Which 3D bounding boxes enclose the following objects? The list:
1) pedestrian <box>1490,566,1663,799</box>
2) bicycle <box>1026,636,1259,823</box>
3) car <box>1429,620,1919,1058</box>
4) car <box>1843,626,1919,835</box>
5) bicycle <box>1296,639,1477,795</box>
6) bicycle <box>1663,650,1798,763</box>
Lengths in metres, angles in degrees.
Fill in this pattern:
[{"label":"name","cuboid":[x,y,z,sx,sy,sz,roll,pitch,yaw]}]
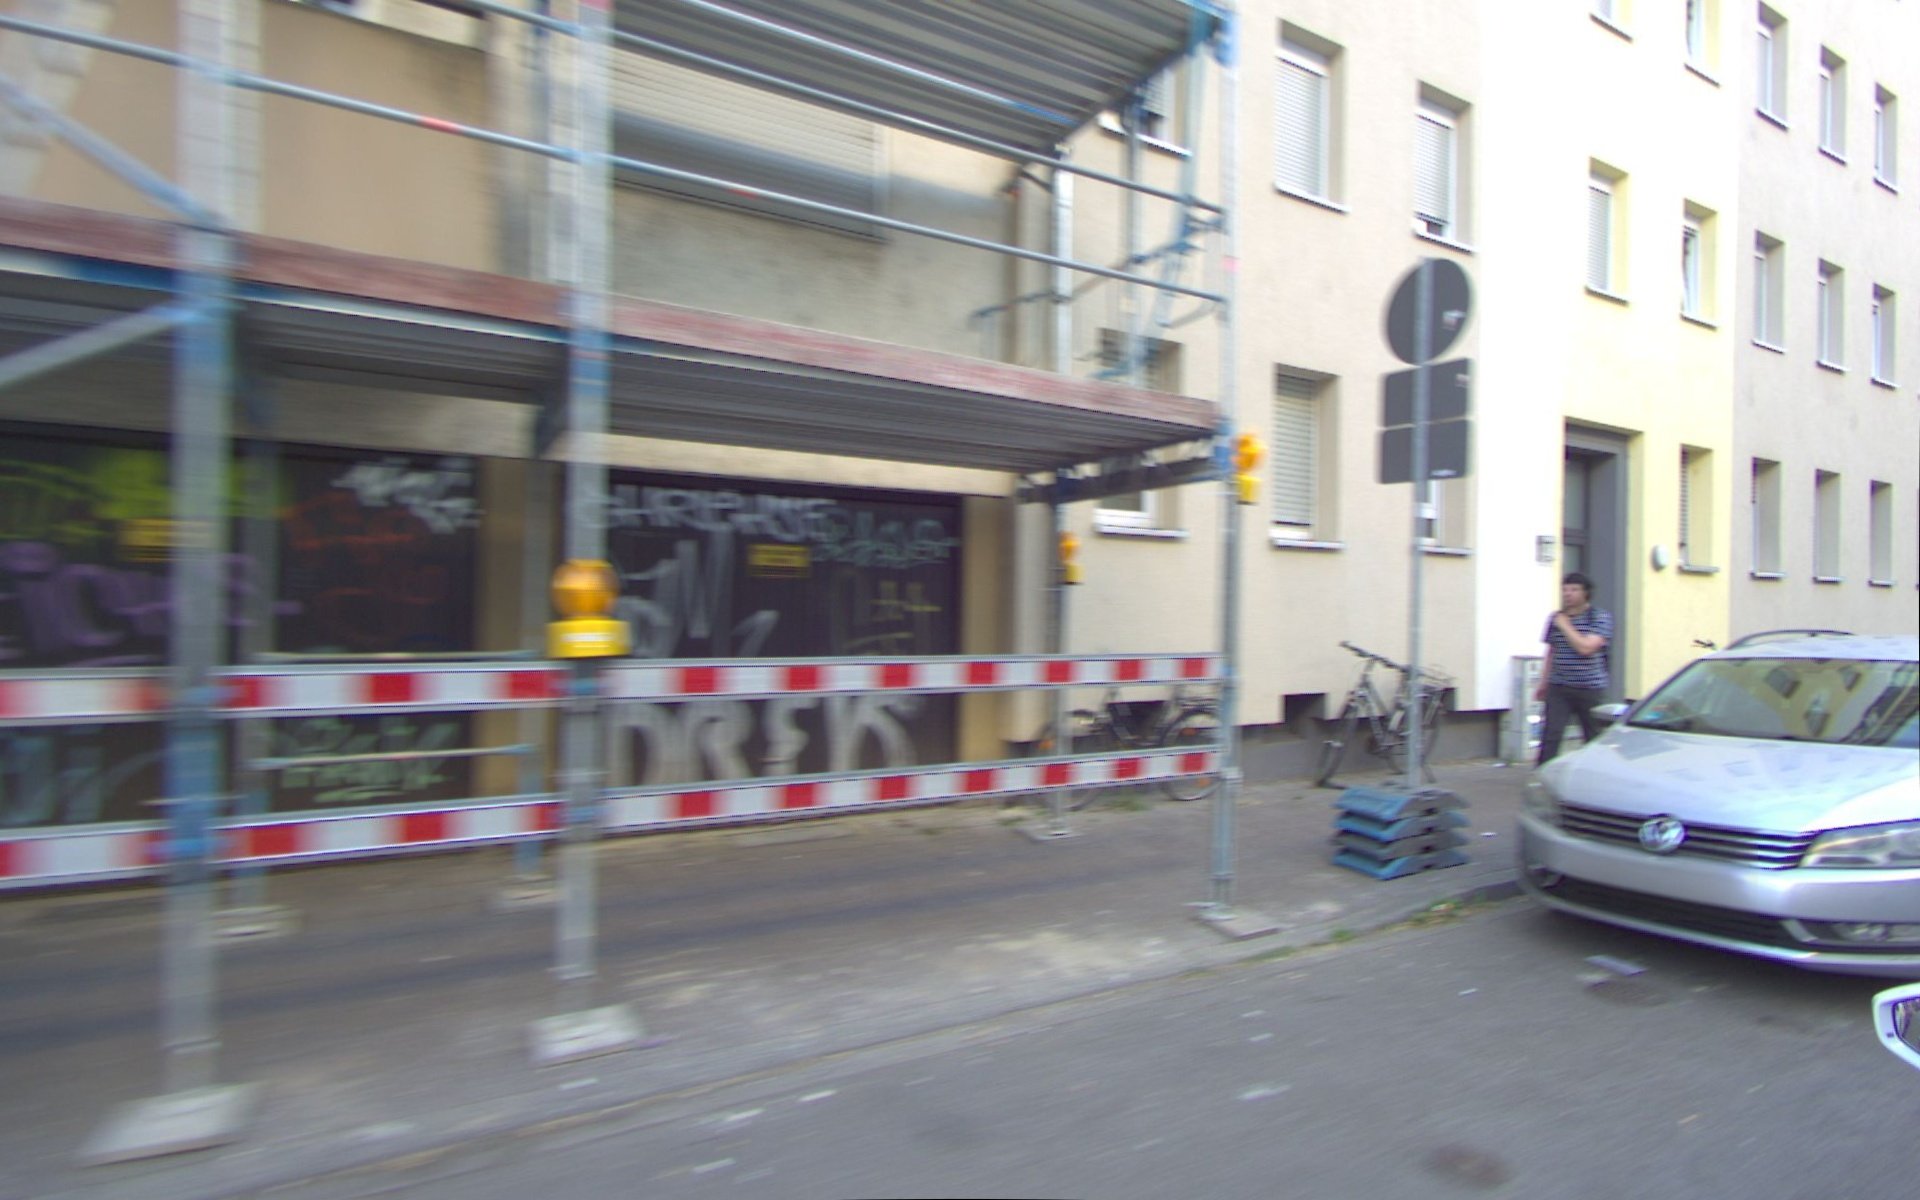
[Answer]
[{"label":"pedestrian","cuboid":[5.094,0.650,8.312,1.079,1.784,0.785,1,-2,-30]},{"label":"bicycle","cuboid":[1.333,0.860,7.145,1.797,1.184,0.402,1,2,-33]},{"label":"car","cuboid":[4.788,0.899,5.444,4.566,1.508,1.912,1,-2,-32]},{"label":"car","cuboid":[9.153,0.969,7.983,4.564,1.508,1.913,1,-2,-31]},{"label":"bicycle","cuboid":[3.615,0.935,8.458,1.714,1.184,0.474,1,2,-33]},{"label":"bicycle","cuboid":[8.773,1.167,11.420,1.904,1.184,0.606,1,-2,-33]}]
